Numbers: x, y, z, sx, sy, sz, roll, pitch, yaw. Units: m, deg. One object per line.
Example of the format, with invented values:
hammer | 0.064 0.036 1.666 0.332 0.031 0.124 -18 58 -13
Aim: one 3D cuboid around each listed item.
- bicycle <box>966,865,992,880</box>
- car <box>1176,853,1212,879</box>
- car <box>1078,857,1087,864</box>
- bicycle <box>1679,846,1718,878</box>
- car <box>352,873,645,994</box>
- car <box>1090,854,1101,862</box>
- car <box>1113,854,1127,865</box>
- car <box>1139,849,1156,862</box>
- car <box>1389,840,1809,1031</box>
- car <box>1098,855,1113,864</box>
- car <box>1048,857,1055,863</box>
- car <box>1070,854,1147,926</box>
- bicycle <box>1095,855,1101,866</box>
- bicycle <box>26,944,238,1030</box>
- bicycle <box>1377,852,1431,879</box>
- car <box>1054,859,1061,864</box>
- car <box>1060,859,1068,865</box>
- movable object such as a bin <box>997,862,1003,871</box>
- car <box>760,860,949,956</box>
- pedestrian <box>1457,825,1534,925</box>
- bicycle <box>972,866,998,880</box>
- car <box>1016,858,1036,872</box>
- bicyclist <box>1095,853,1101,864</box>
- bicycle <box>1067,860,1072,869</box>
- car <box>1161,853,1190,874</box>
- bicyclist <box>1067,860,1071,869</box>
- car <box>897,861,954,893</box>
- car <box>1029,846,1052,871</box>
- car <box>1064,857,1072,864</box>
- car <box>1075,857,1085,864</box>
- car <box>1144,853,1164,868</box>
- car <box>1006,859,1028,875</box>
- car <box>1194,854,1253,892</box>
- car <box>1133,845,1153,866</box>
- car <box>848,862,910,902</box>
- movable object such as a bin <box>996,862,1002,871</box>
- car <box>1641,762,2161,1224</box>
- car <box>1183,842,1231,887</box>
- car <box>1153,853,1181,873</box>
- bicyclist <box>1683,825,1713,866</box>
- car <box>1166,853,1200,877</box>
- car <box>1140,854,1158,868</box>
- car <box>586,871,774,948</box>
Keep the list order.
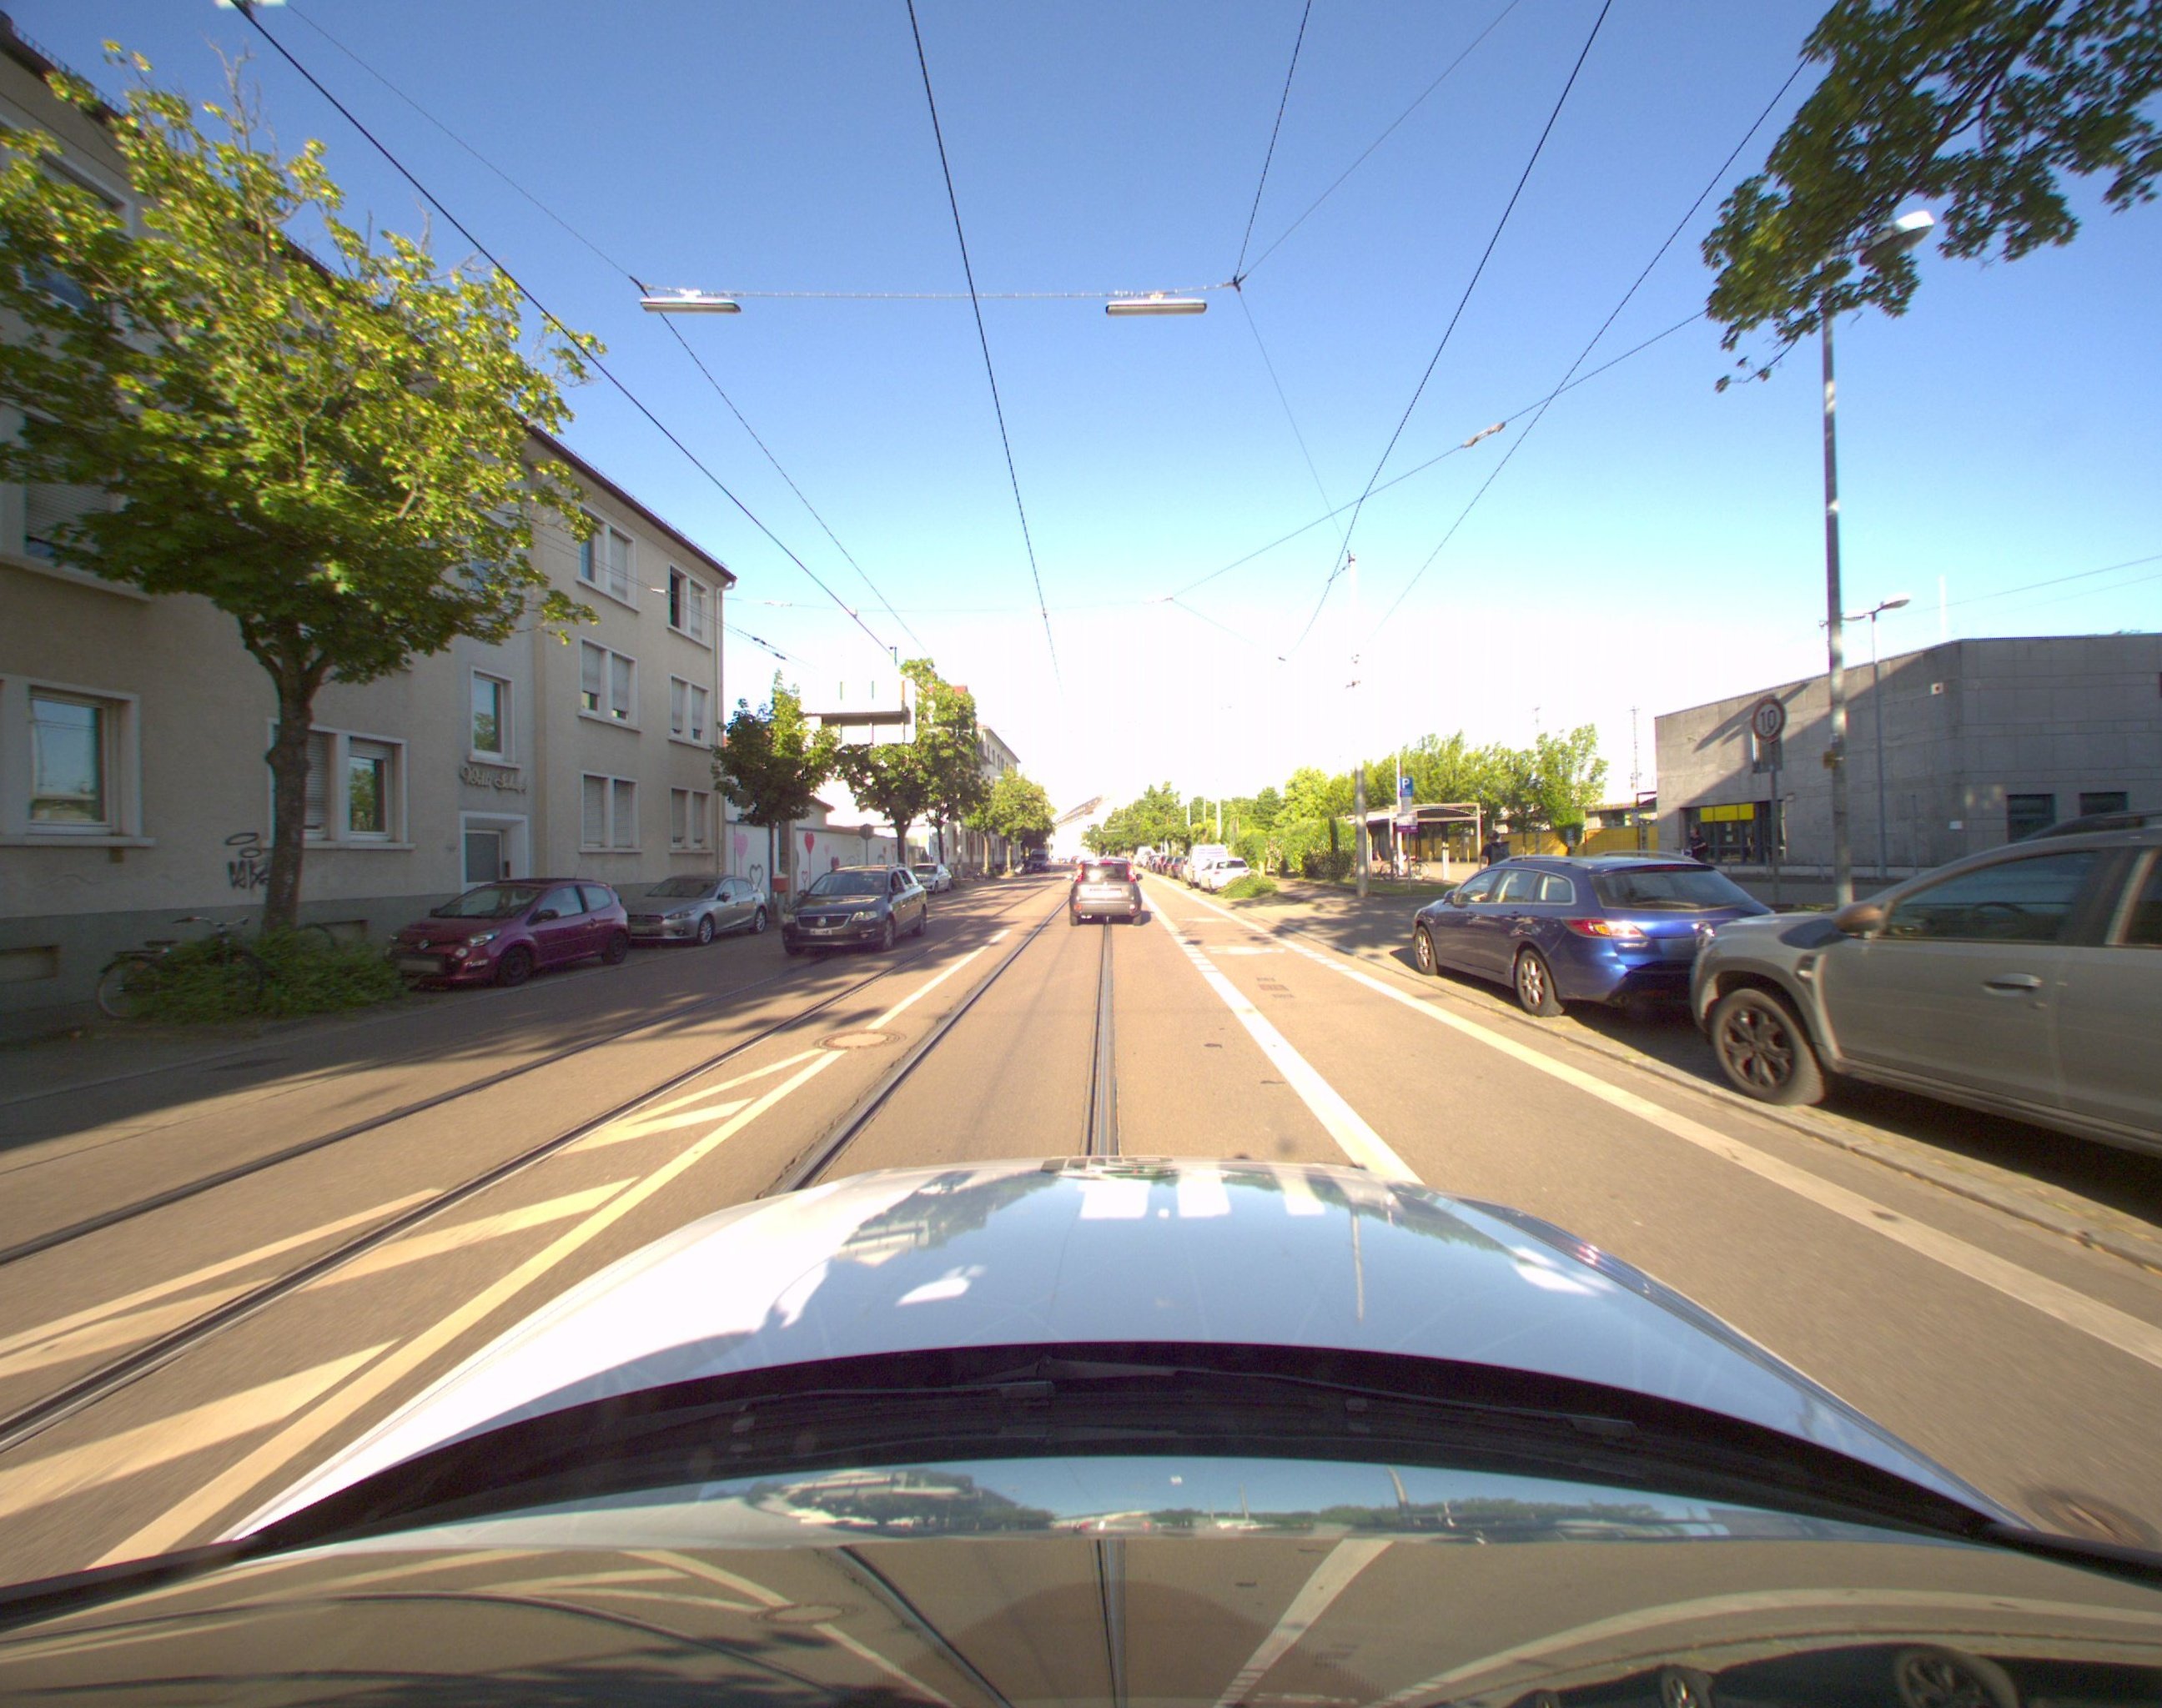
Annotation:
bicycle | -7.092 1.291 56.719 0.661 1.040 1.798 -1 -1 39
car | 6.657 0.705 48.425 1.864 1.473 4.079 -1 -1 4
car | 0.323 1.389 180.834 1.655 1.571 3.488 0 -1 -9
bicycle | 21.250 0.281 28.029 2.021 1.071 0.745 0 -1 -44
car | -8.701 1.088 12.672 1.566 1.505 4.002 0 -1 2
car | 2.810 0.847 162.637 1.634 1.508 3.388 -4 0 -7
car | 6.314 0.898 130.816 1.686 1.530 3.993 -3 0 -5
car | 8.564 0.221 105.092 1.903 1.530 4.601 -2 0 1
car | 5.028 0.676 8.863 1.696 1.481 4.660 -2 -1 2
car | 4.428 1.070 147.526 1.689 1.530 3.985 -3 0 -10
car | -8.473 1.740 236.087 1.582 1.599 3.366 0 -1 -9
car | 0.654 0.784 19.586 1.644 1.541 4.236 0 0 2
bicycle | 2.677 1.068 127.526 0.675 1.747 2.151 0 -1 -9
bicycle | -9.547 1.332 8.211 1.781 0.802 0.276 0 -1 -1
bicycle | 12.480 0.444 31.526 1.883 1.008 0.579 -1 -1 14
car | -6.355 2.101 222.045 1.582 1.405 3.366 0 -1 -9
car | -4.466 1.982 210.965 1.583 1.405 3.366 -5 0 -9
movable object such as a bin | -8.542 1.360 86.168 0.594 0.934 0.568 -2 0 -1
car | -3.990 0.882 15.294 1.757 1.463 4.754 -2 -1 5
pedestrian | 7.952 0.392 15.685 0.668 1.789 1.304 -5 -1 2
bicycle | -7.077 1.407 60.387 1.998 1.040 0.526 0 -1 -44
car | -5.803 1.156 86.597 1.645 1.425 4.192 0 -1 2
bicyclist | 2.643 0.664 127.510 0.699 1.759 0.755 0 -1 -9
bicycle | -2.647 2.277 180.257 0.741 2.014 2.803 0 -1 -9
car | 7.136 0.716 61.662 1.817 1.452 4.645 -2 -1 3
bicyclist | -2.677 2.324 180.366 0.715 2.014 0.829 0 -1 -9
car | -7.779 1.128 41.253 1.857 1.490 4.663 0 -1 2
car | -4.674 0.497 94.308 2.009 2.826 6.036 0 -1 3
car | -3.161 1.621 201.085 1.655 1.500 3.120 0 -1 -9
car | -0.292 1.416 185.091 1.655 1.571 3.864 0 -1 -9
car | 8.157 0.703 91.048 1.723 1.604 4.341 0 -1 -1
car | -6.310 1.234 80.217 1.645 1.491 4.002 0 -1 2
car | 5.996 0.770 34.652 1.670 1.418 4.502 -3 -1 0
car | 8.496 0.218 111.753 2.173 2.665 6.091 -4 -1 0
car | -8.113 1.077 33.053 1.769 1.486 4.298 0 -1 -5
movable object such as a bin | -8.610 1.356 85.574 0.594 0.934 0.568 -2 0 -1
car | 4.855 0.506 3.617 1.736 1.712 4.276 -1 -1 -1
car | 6.109 0.504 40.009 1.846 1.991 5.247 -2 -1 4
car | 7.142 0.769 67.799 1.818 1.493 3.814 -4 -1 0
bicyclist | 21.218 -0.281 28.014 0.585 1.384 0.721 0 -1 -45
car | 6.621 0.735 53.217 1.817 1.484 4.604 0 -1 3
car | 7.986 0.822 95.831 1.723 1.512 4.250 0 -1 -1
car | -8.594 1.114 17.937 1.866 1.429 4.295 0 -1 2
